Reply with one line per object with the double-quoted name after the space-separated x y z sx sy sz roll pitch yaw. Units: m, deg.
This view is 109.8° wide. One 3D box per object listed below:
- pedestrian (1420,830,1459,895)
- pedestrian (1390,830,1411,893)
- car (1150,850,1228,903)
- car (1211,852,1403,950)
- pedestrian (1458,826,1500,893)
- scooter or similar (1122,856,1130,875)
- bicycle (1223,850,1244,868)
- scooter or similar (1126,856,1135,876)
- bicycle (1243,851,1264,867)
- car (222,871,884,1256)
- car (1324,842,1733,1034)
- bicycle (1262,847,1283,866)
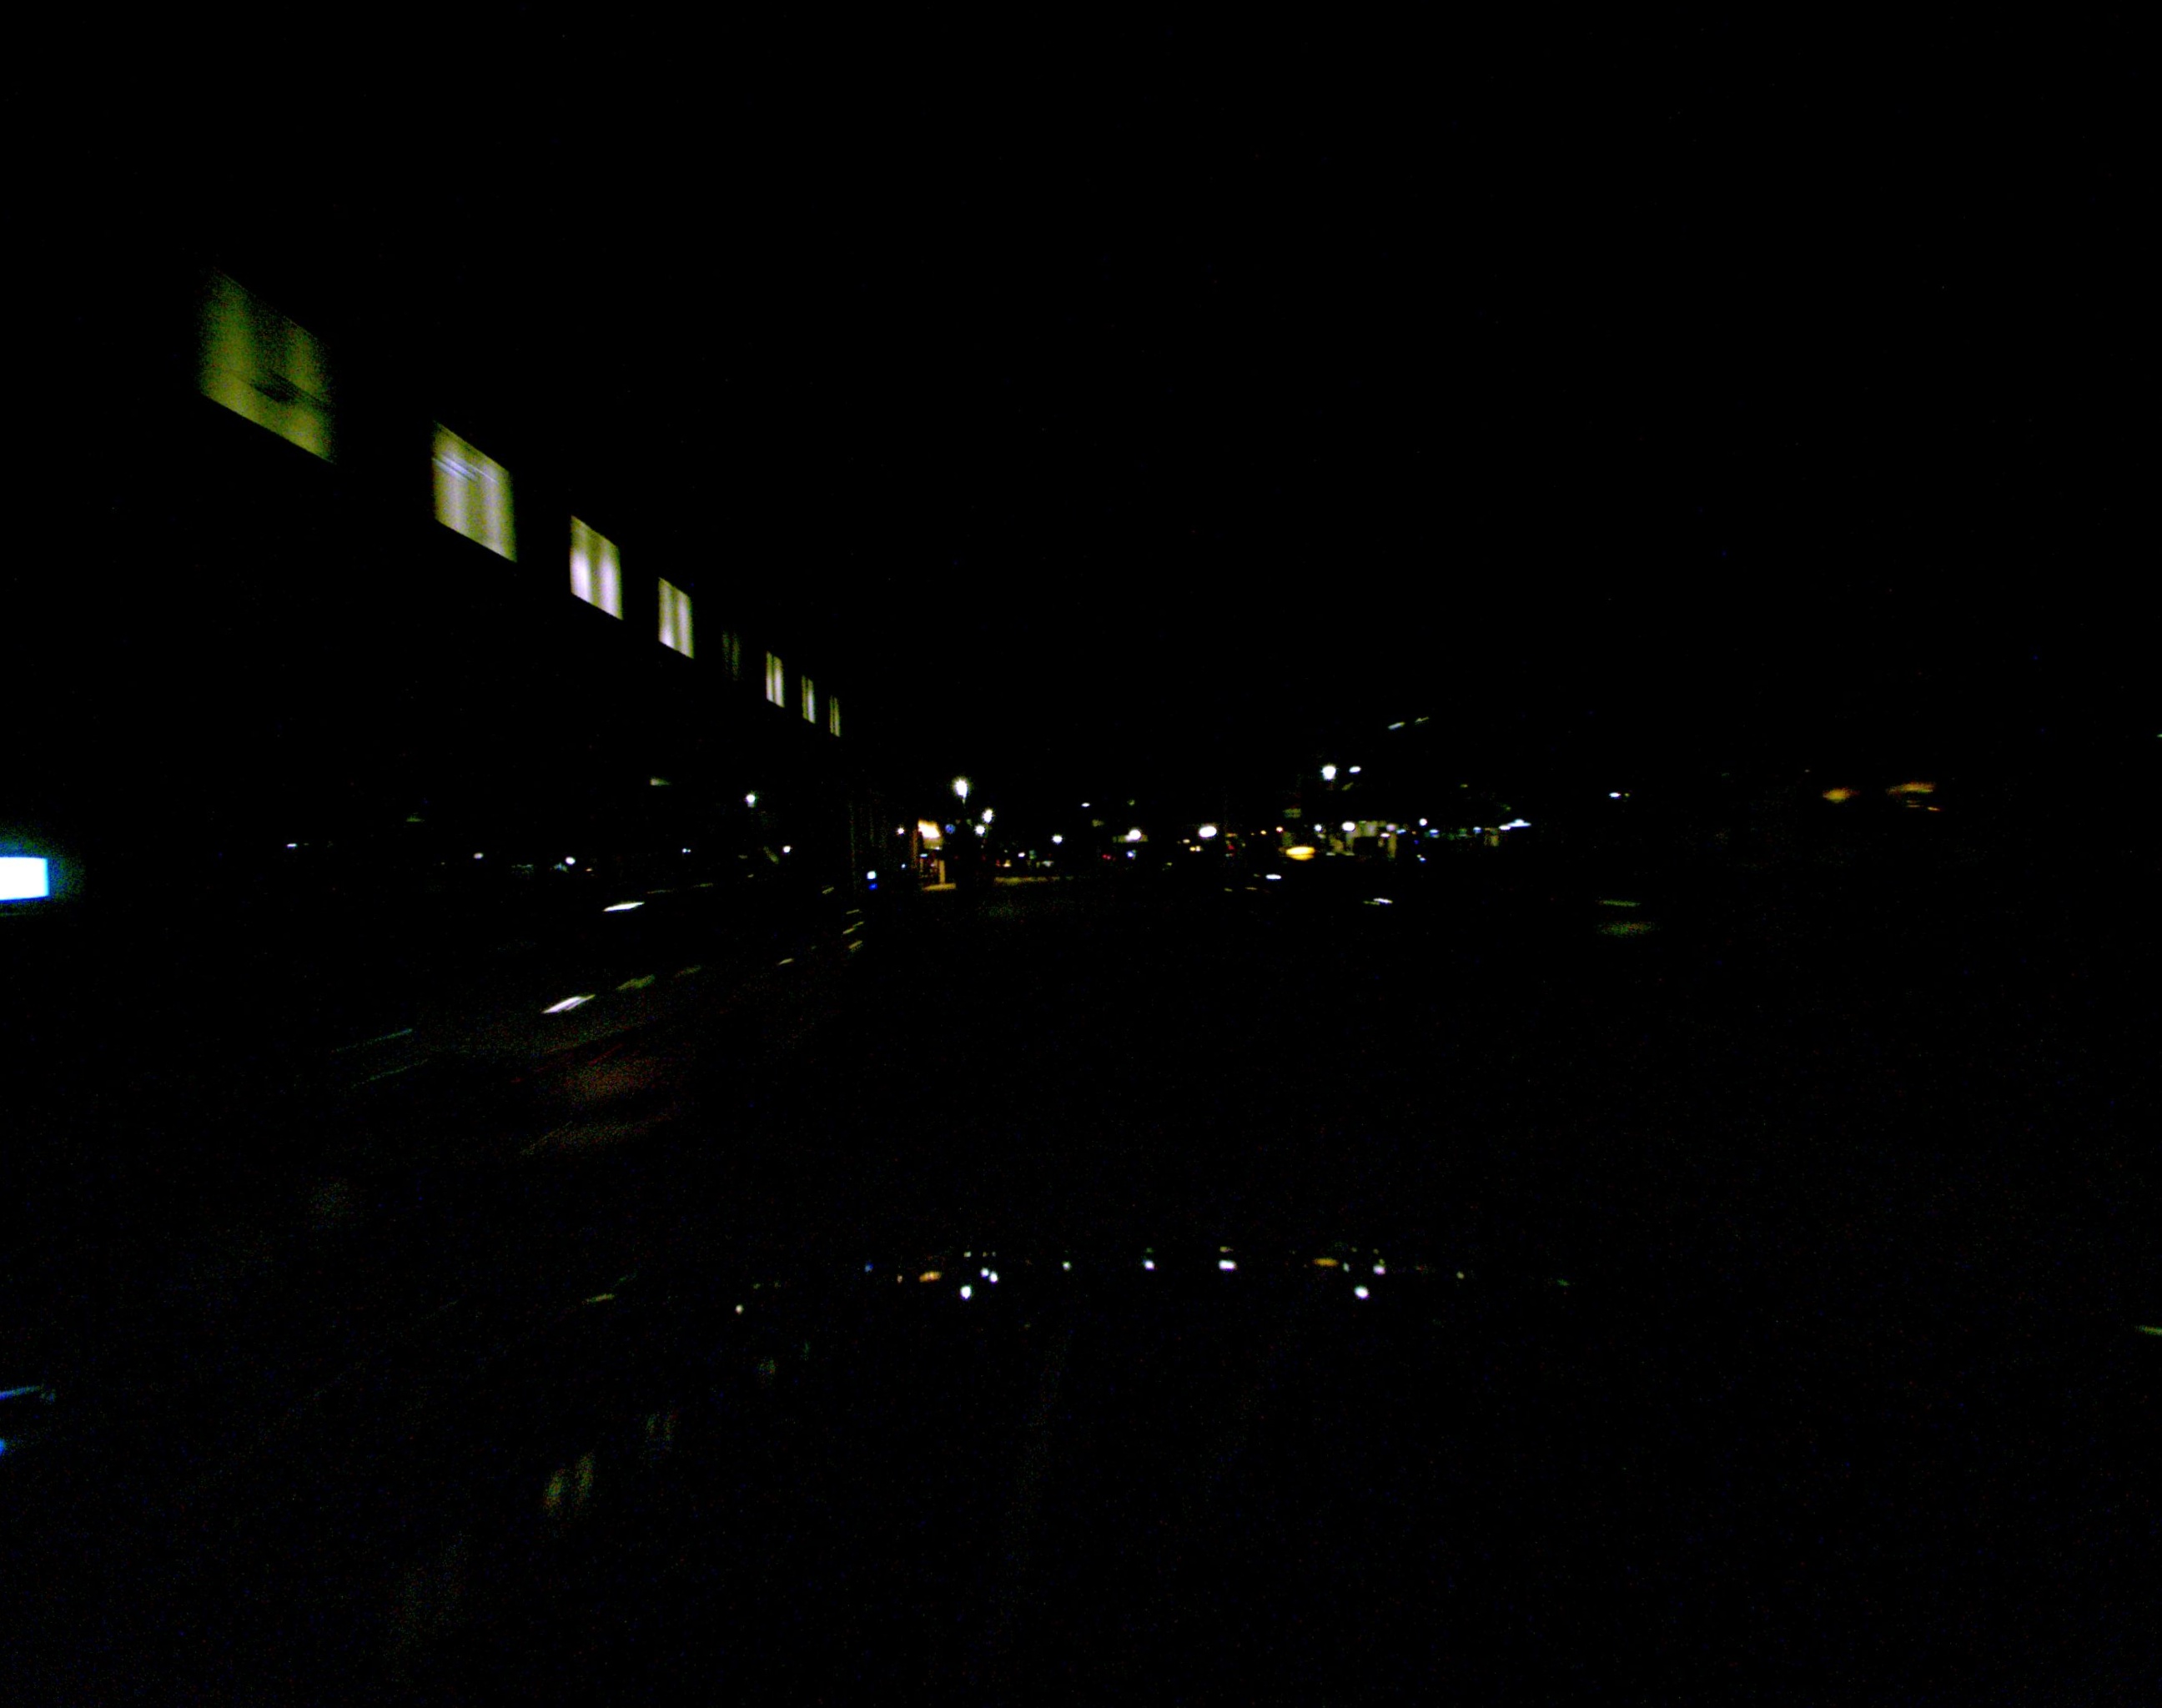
10.468 0.247 22.212 0.879 1.821 0.792 -3 1 22 "pedestrian"
9.381 0.224 22.307 0.501 1.811 0.504 -1 2 28 "pedestrian"
3.590 0.685 26.055 1.776 1.565 4.481 -3 1 -2 "car"
4.194 0.792 15.089 1.911 1.533 4.779 -3 0 -6 "car"
11.233 0.154 21.494 0.793 1.807 1.024 -3 1 17 "pedestrian"
3.003 0.774 50.795 0.370 1.256 1.448 -3 0 -3 "scooter or similar"
11.601 0.359 57.779 0.861 1.247 2.465 -2 1 -5 "bicycle"
3.308 0.820 50.818 0.318 1.280 1.448 -3 0 -3 "scooter or similar"
13.137 0.375 57.886 0.861 1.081 2.481 -2 1 -5 "bicycle"
-2.949 0.994 5.720 1.747 1.479 4.634 -2 1 -1 "car"
4.754 0.740 9.130 1.764 1.628 4.813 -2 0 -5 "car"
14.611 0.165 58.007 0.765 1.356 2.412 -2 1 -5 "bicycle"
